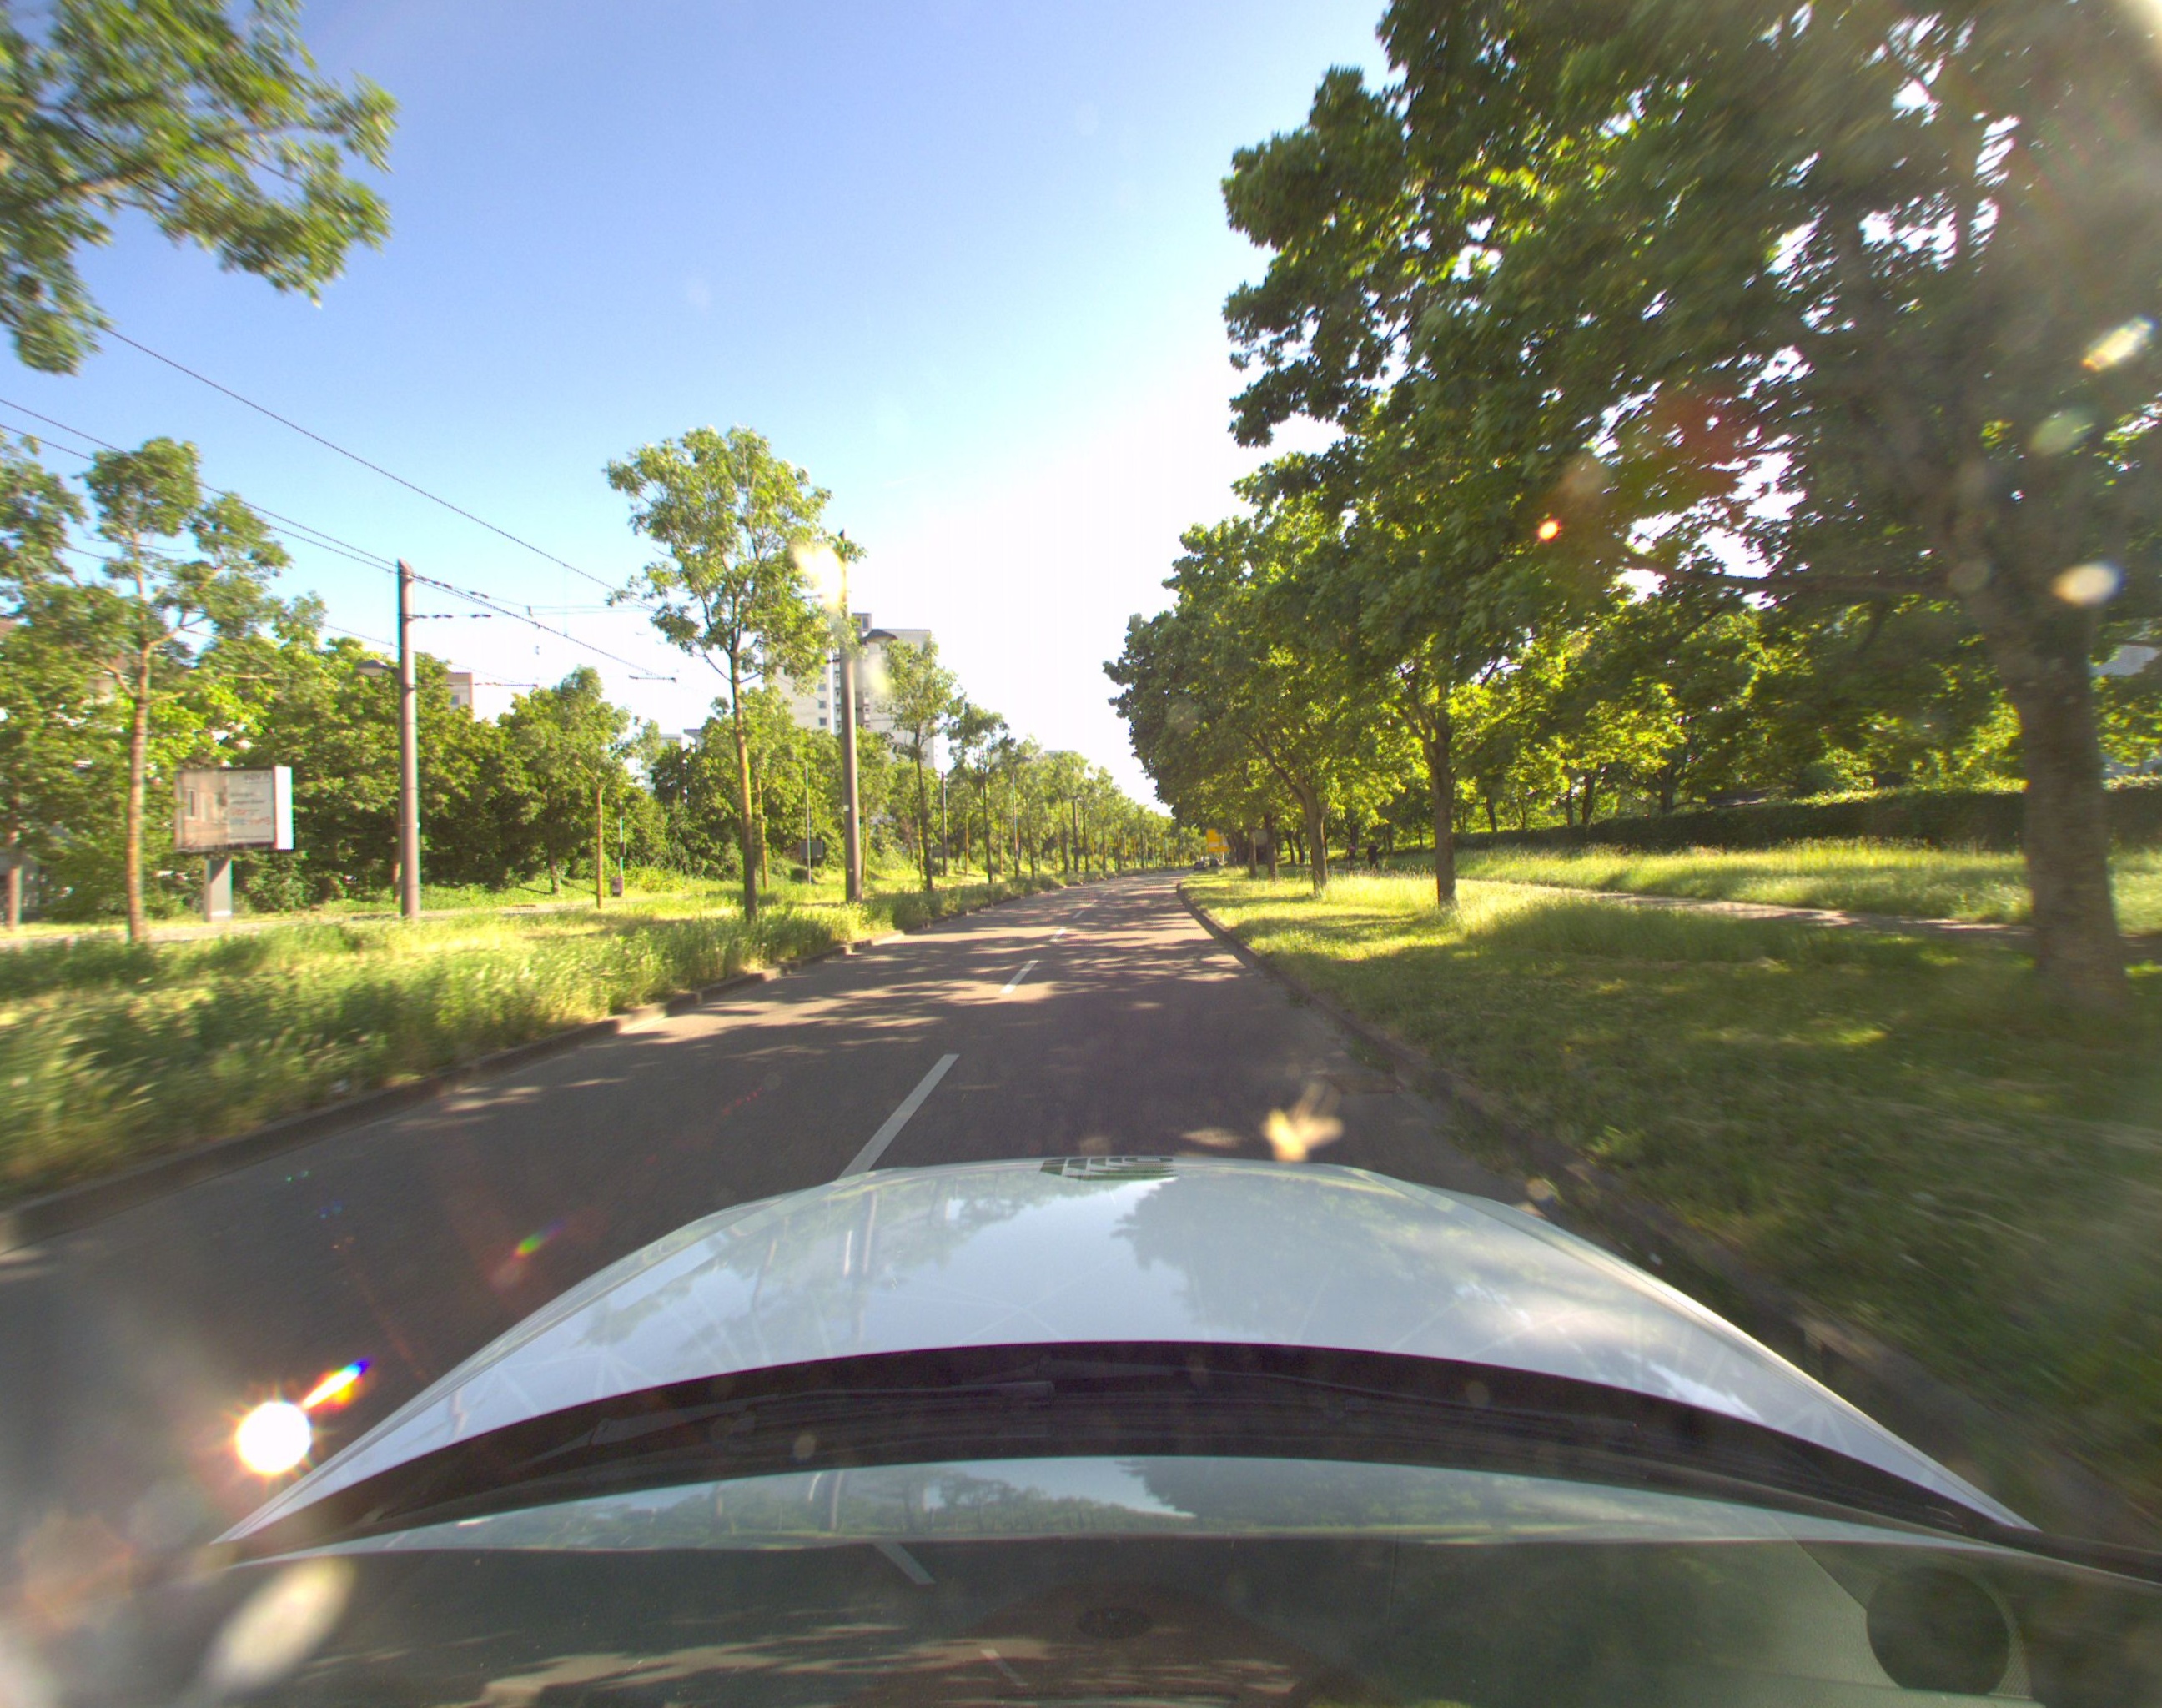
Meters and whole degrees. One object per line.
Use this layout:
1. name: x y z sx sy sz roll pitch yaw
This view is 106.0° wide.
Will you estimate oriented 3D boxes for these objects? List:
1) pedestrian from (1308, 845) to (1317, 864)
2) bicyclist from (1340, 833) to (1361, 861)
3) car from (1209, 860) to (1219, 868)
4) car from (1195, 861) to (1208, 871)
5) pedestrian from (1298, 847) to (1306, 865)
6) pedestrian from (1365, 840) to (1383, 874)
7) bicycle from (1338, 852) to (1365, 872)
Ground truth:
1. pedestrian: 20.892 0.074 73.514 0.631 1.692 0.848 -3 -1 20
2. bicyclist: 14.807 -0.373 44.750 0.787 1.450 0.845 -3 -1 0
3. car: 27.162 2.076 166.127 1.623 1.498 4.249 -2 -1 13
4. car: 17.719 1.741 119.868 1.623 1.498 4.248 -2 -1 12
5. pedestrian: 20.022 0.167 73.917 0.542 1.622 0.848 -3 -1 20
6. pedestrian: 15.709 0.164 43.657 0.712 1.803 0.795 -2 -1 7
7. bicycle: 14.842 0.440 44.750 0.791 1.047 2.142 -3 -1 1
